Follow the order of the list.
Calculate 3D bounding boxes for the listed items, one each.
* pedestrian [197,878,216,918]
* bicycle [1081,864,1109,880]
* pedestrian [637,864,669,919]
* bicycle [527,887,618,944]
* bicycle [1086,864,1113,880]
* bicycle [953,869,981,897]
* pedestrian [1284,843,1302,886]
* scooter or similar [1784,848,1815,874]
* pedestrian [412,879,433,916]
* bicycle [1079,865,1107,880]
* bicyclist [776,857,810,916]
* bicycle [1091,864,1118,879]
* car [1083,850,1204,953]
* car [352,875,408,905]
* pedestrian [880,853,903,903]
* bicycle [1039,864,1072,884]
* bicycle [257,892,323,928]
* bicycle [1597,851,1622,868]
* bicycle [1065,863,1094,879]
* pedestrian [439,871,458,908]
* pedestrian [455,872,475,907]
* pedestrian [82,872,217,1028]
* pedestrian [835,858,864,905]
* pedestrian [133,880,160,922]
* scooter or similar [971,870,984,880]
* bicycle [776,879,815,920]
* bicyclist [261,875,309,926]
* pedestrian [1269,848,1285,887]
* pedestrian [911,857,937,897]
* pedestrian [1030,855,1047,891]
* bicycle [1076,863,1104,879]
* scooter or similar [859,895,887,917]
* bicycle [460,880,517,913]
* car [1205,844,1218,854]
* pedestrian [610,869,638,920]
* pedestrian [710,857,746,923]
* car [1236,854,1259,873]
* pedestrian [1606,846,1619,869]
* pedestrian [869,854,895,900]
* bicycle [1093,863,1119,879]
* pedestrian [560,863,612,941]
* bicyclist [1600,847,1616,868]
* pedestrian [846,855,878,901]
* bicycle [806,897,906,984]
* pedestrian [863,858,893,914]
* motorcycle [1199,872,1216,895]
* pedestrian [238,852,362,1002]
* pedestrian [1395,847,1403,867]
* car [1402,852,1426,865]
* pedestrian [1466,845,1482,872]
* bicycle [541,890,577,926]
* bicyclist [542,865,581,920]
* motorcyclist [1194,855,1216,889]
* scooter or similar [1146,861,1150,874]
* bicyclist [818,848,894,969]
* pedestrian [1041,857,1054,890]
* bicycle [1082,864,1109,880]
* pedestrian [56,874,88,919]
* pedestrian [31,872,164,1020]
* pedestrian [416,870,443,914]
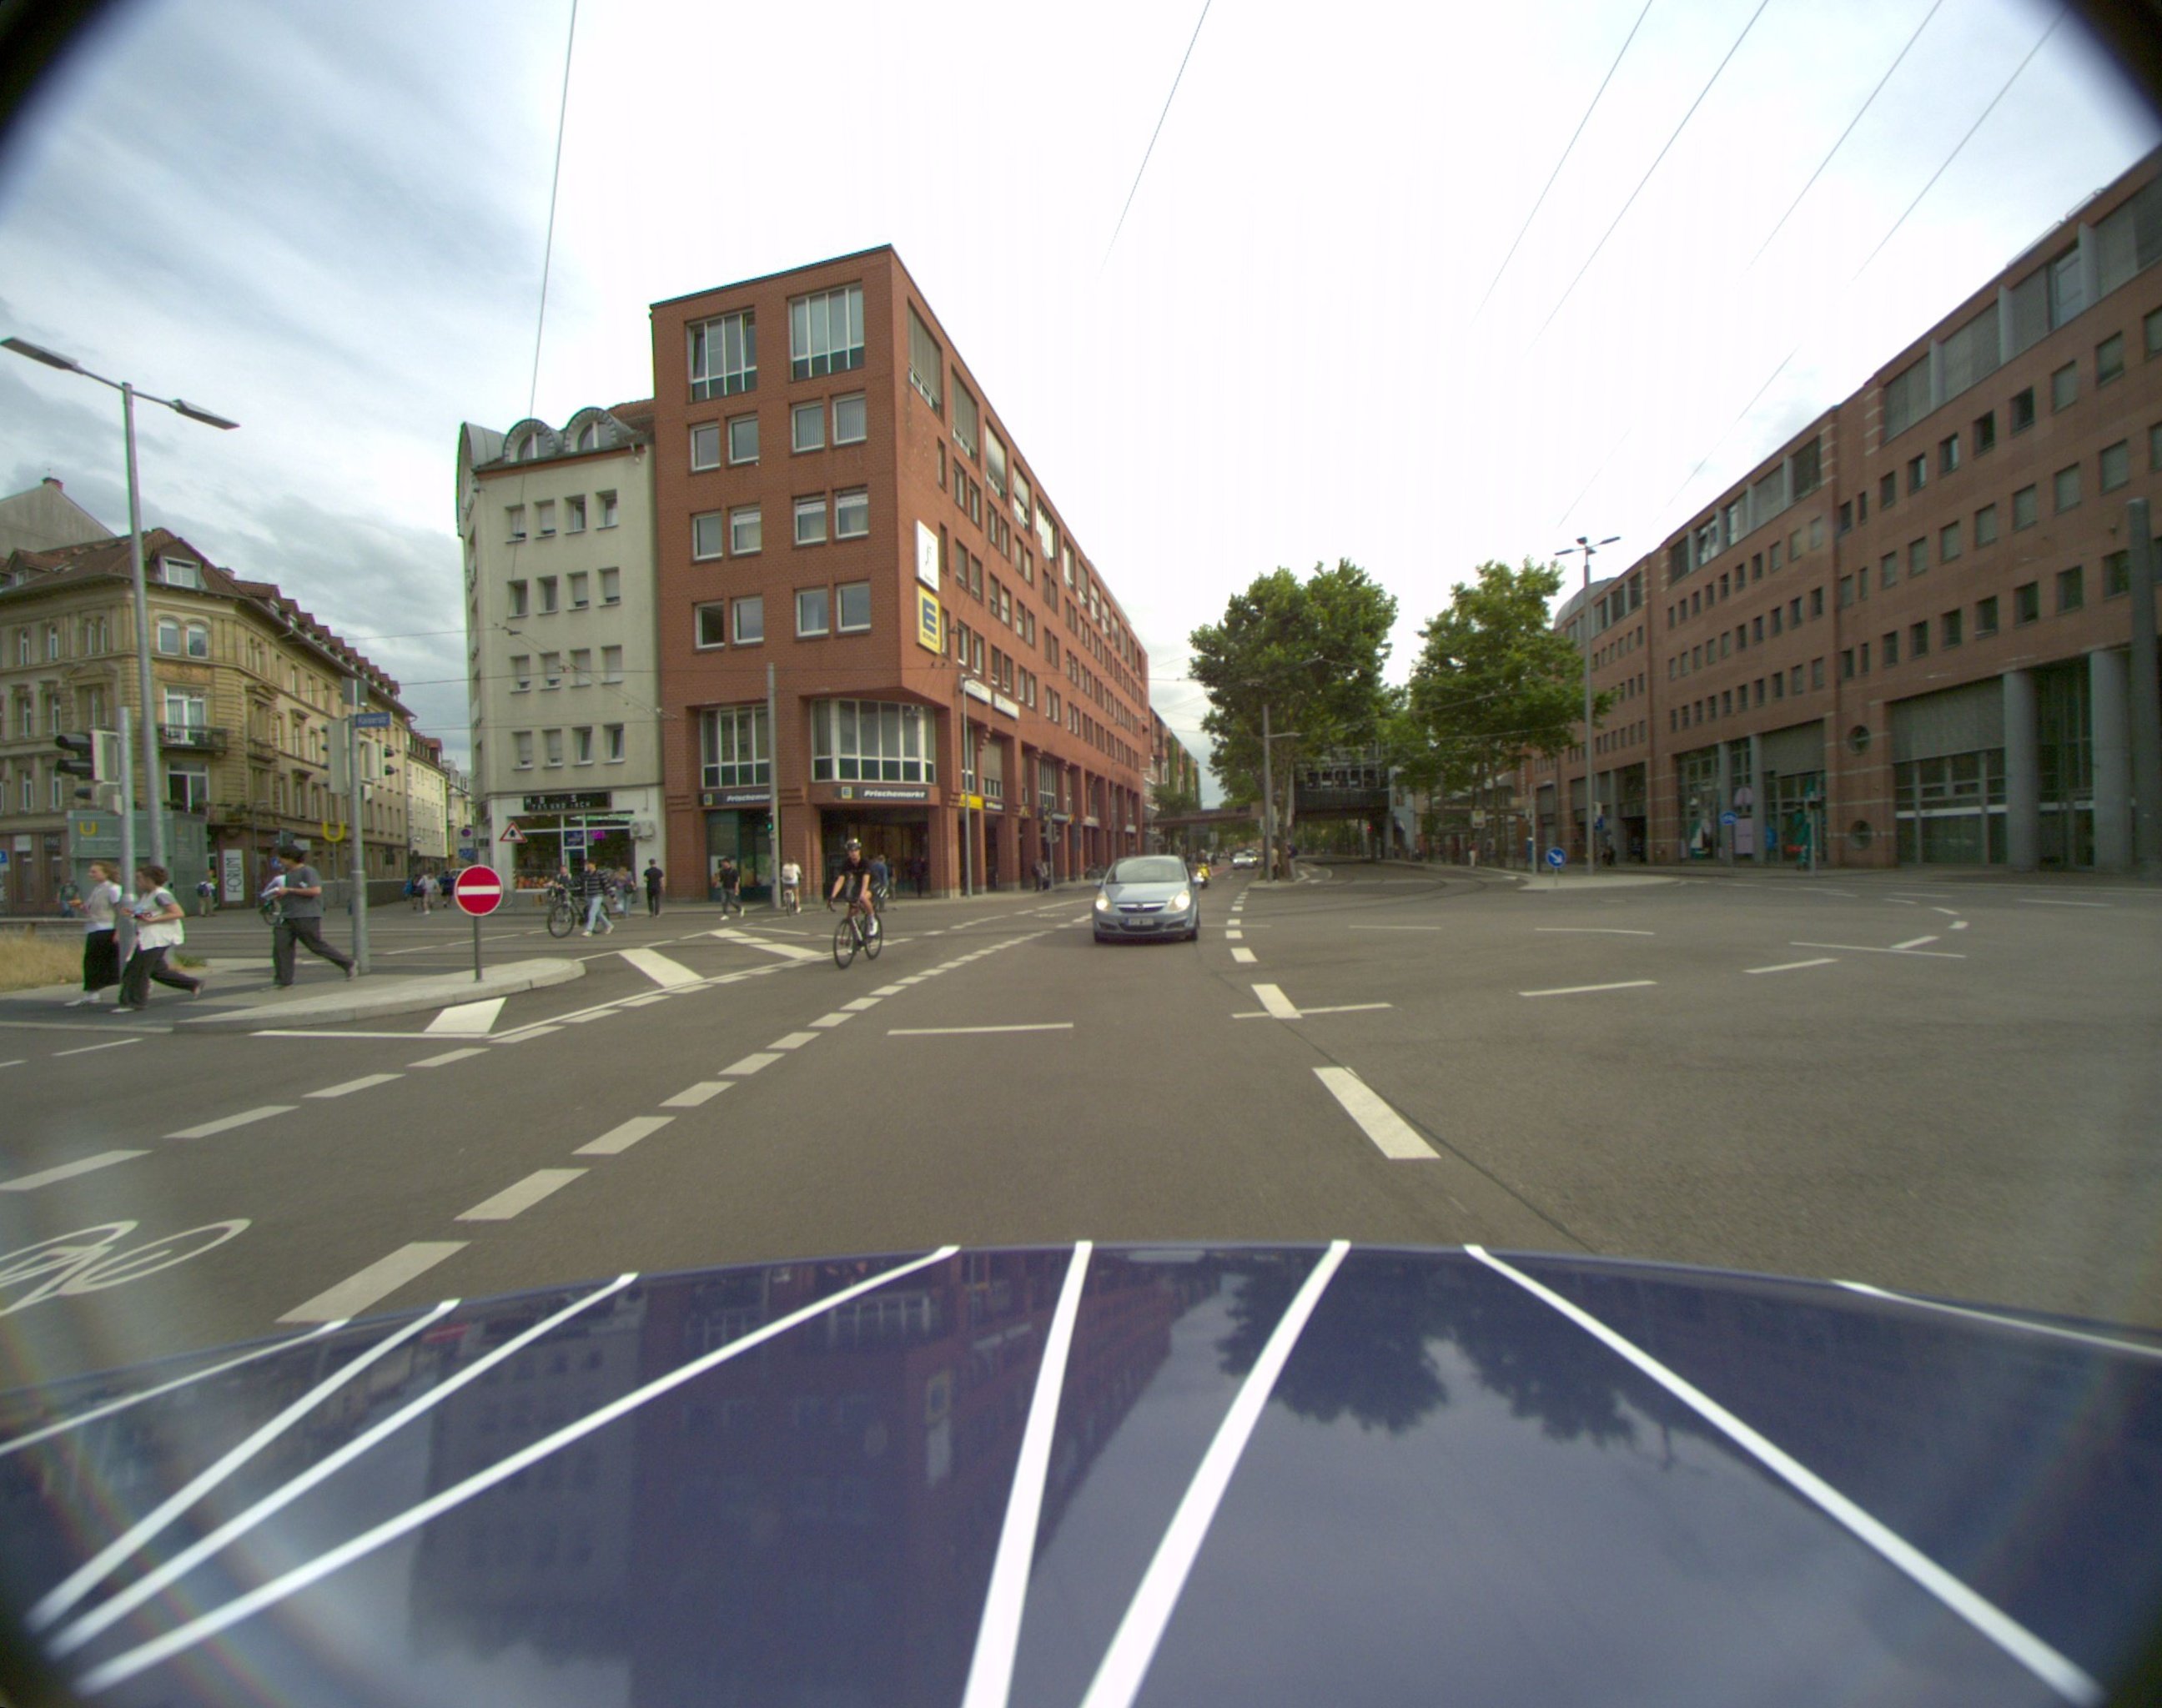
[{"bbox_3d":[-37.485,1.861,32.575,0.425,1.675,0.514,-2,0,-42],"label":"pedestrian"},{"bbox_3d":[0.965,1.263,53.011,1.857,1.034,0.535,-1,1,15],"label":"bicycle"},{"bbox_3d":[-13.226,1.154,23.472,0.708,1.638,0.719,-2,0,-38],"label":"pedestrian"},{"bbox_3d":[-11.279,1.343,16.918,0.397,1.104,1.832,-2,0,15],"label":"bicycle"},{"bbox_3d":[1.336,1.274,54.980,1.857,1.105,0.535,-1,1,15],"label":"bicycle"},{"bbox_3d":[-4.875,1.213,32.611,0.566,1.086,1.700,1,2,14],"label":"bicycle"},{"bbox_3d":[9.376,0.459,33.647,0.692,1.864,0.807,-2,0,15],"label":"pedestrian"},{"bbox_3d":[32.081,0.289,33.939,0.519,1.126,1.113,-2,0,15],"label":"scooter or similar"},{"bbox_3d":[-30.724,2.023,35.441,0.518,1.712,0.593,-1,1,35],"label":"pedestrian"},{"bbox_3d":[0.808,1.262,52.346,1.857,1.034,0.535,-1,1,15],"label":"bicycle"},{"bbox_3d":[-8.463,0.936,22.342,0.642,1.699,0.862,-2,0,-3],"label":"bicyclist"},{"bbox_3d":[1.716,1.271,55.800,1.857,1.105,0.535,-1,1,15],"label":"bicycle"},{"bbox_3d":[1.257,0.717,13.521,1.722,1.395,4.002,-4,1,10],"label":"car"},{"bbox_3d":[-40.654,2.036,44.169,1.698,1.577,3.651,-2,0,-32],"label":"car"},{"bbox_3d":[-6.777,0.851,27.245,0.541,1.787,0.562,-2,0,14],"label":"pedestrian"},{"bbox_3d":[-1.450,1.135,43.222,1.868,1.078,0.628,-1,1,-36],"label":"bicycle"},{"bbox_3d":[-25.615,1.810,24.618,1.917,1.080,0.392,-2,0,8],"label":"bicycle"},{"bbox_3d":[35.438,0.333,50.965,0.547,1.111,1.590,-2,0,2],"label":"bicycle"},{"bbox_3d":[-0.092,1.134,51.207,1.857,1.034,0.508,-2,0,15],"label":"bicycle"},{"bbox_3d":[-30.082,1.696,36.130,0.518,1.712,0.542,-1,1,35],"label":"pedestrian"},{"bbox_3d":[-29.728,1.702,36.656,0.543,1.626,0.584,-1,1,35],"label":"pedestrian"},{"bbox_3d":[-10.624,1.061,8.694,0.469,1.676,0.796,-2,1,10],"label":"pedestrian"},{"bbox_3d":[-8.197,0.959,26.954,0.541,1.642,0.894,-2,0,14],"label":"pedestrian"},{"bbox_3d":[-37.926,1.911,30.840,0.424,1.675,0.516,-2,0,16],"label":"pedestrian"},{"bbox_3d":[-4.673,0.959,34.267,0.263,0.416,0.892,-2,-1,12],"label":"scooter or similar"},{"bbox_3d":[-8.456,1.327,22.566,0.391,1.115,2.076,-2,0,-2],"label":"bicycle"},{"bbox_3d":[-25.671,1.487,24.509,0.861,1.594,0.643,-2,0,9],"label":"bicyclist"},{"bbox_3d":[9.242,0.630,35.849,0.534,1.781,0.578,-1,1,35],"label":"pedestrian"},{"bbox_3d":[-6.382,0.931,30.946,0.619,1.591,0.923,-2,0,14],"label":"pedestrian"},{"bbox_3d":[-2.044,0.921,36.642,0.646,1.686,0.698,0,1,12],"label":"pedestrian"},{"bbox_3d":[0.614,1.162,51.788,1.857,1.034,0.535,-1,1,15],"label":"bicycle"},{"bbox_3d":[-6.161,1.536,22.532,0.508,0.570,0.816,-2,0,7],"label":"scooter or similar"},{"bbox_3d":[-22.855,1.628,29.337,1.805,1.197,0.543,-2,0,5],"label":"bicycle"},{"bbox_3d":[23.824,-0.904,138.340,1.955,1.592,4.004,-2,0,15],"label":"car"},{"bbox_3d":[-13.921,1.226,23.146,0.594,1.502,0.628,-2,0,-38],"label":"pedestrian"},{"bbox_3d":[-9.949,1.000,21.457,0.568,1.813,0.696,-2,0,14],"label":"pedestrian"},{"bbox_3d":[16.017,0.894,73.068,1.955,1.592,4.004,-2,0,15],"label":"car"},{"bbox_3d":[36.498,0.266,52.205,0.528,1.564,0.601,-1,1,14],"label":"pedestrian"},{"bbox_3d":[-7.554,0.869,28.854,0.648,1.679,0.651,-2,2,14],"label":"pedestrian"},{"bbox_3d":[1.840,1.276,56.411,1.857,1.105,0.535,-1,1,15],"label":"bicycle"},{"bbox_3d":[-10.844,1.039,16.662,0.520,1.676,0.727,-2,0,15],"label":"pedestrian"},{"bbox_3d":[35.436,0.238,51.082,0.551,1.373,0.738,-2,1,2],"label":"bicyclist"},{"bbox_3d":[-8.307,0.898,28.815,0.648,1.704,1.057,-2,1,14],"label":"pedestrian"},{"bbox_3d":[-3.079,1.155,10.576,0.488,0.994,1.749,-1,0,14],"label":"bicycle"},{"bbox_3d":[-6.201,0.966,23.256,0.639,1.677,0.601,-2,0,14],"label":"pedestrian"},{"bbox_3d":[5.689,1.309,34.171,0.570,0.962,2.015,-2,0,5],"label":"motorcycle"},{"bbox_3d":[-10.075,0.911,9.830,0.639,1.843,0.878,-2,0,14],"label":"pedestrian"},{"bbox_3d":[28.708,0.300,68.575,0.481,1.761,0.481,-2,1,7],"label":"pedestrian"},{"bbox_3d":[39.054,0.512,89.189,1.866,1.464,4.300,-2,0,13],"label":"car"},{"bbox_3d":[22.245,0.253,43.008,0.657,1.529,0.559,-2,3,10],"label":"pedestrian"},{"bbox_3d":[-15.371,1.557,22.392,0.544,0.945,1.804,-2,0,-25],"label":"bicycle"},{"bbox_3d":[-15.233,1.108,22.295,0.747,1.549,0.944,-2,0,-24],"label":"bicyclist"},{"bbox_3d":[5.584,0.804,34.230,0.871,1.508,1.044,-2,0,4],"label":"motorcyclist"},{"bbox_3d":[6.514,1.316,73.782,0.272,1.250,0.922,-2,0,15],"label":"scooter or similar"},{"bbox_3d":[-3.102,0.729,10.534,0.613,1.594,0.848,-2,1,14],"label":"bicyclist"},{"bbox_3d":[-1.690,0.994,38.507,0.406,1.622,0.733,0,1,22],"label":"pedestrian"},{"bbox_3d":[1.042,1.258,54.008,1.857,1.105,0.535,-1,1,15],"label":"bicycle"},{"bbox_3d":[-39.757,1.666,29.936,0.731,1.676,0.606,-1,4,38],"label":"pedestrian"},{"bbox_3d":[-11.793,1.073,9.132,0.634,1.685,0.706,-2,0,4],"label":"pedestrian"},{"bbox_3d":[-25.069,1.446,29.244,0.719,1.617,0.791,-2,0,-43],"label":"pedestrian"}]
